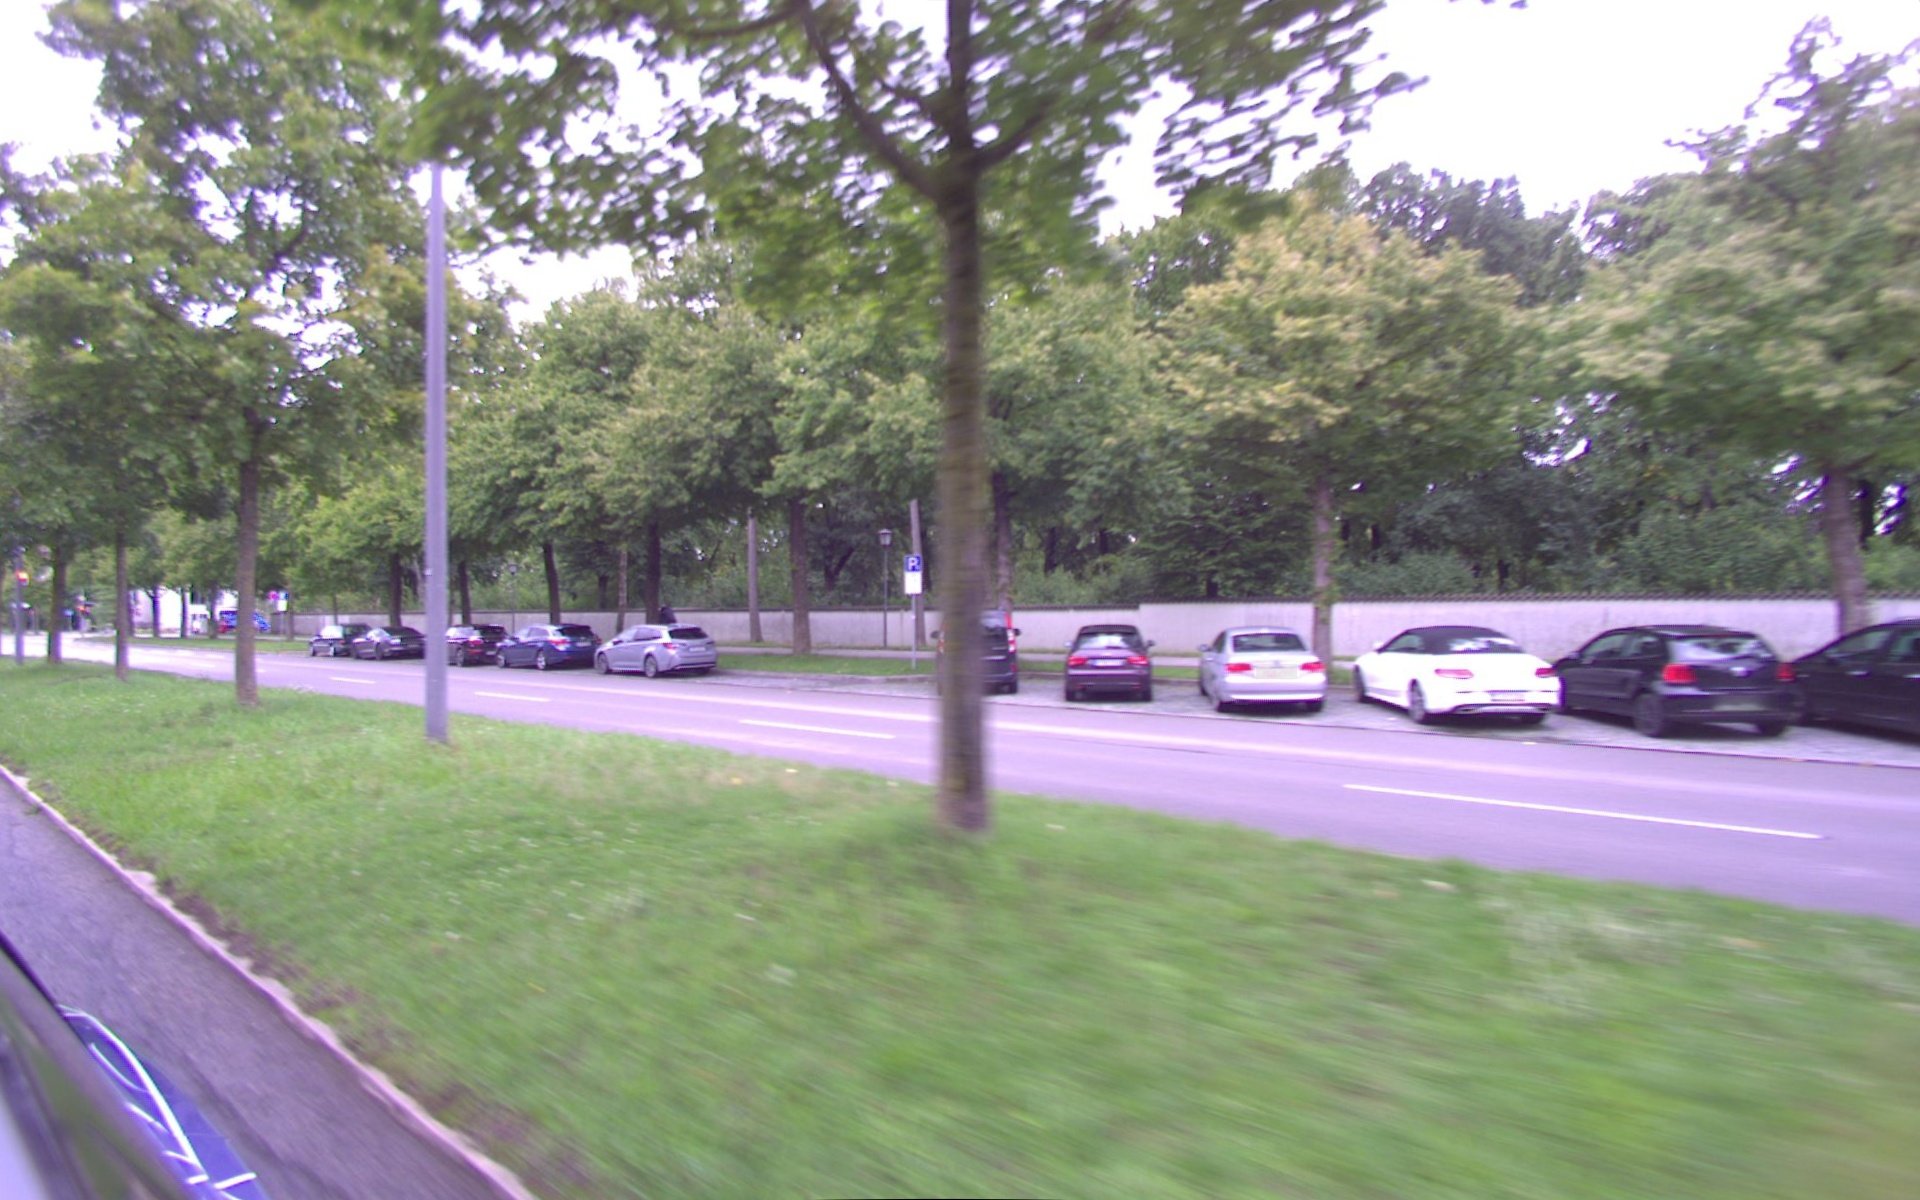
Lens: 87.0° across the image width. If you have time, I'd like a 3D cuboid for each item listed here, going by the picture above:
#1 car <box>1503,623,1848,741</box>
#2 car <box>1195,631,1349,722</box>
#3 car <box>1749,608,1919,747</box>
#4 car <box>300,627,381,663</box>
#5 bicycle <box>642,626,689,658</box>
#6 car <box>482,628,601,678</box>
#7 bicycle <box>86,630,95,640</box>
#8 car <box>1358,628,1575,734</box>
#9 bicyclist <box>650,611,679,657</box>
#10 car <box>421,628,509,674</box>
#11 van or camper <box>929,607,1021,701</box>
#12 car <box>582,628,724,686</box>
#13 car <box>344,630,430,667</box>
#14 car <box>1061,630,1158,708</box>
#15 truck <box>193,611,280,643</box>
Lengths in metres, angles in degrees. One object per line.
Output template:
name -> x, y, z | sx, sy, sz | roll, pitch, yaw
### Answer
car -> 9.897, 1.052, 14.510 | 1.892, 1.433, 4.240 | 0, -1, 0
car -> 5.279, 1.244, 17.659 | 1.828, 1.364, 3.992 | -1, -1, 7
car -> 12.028, 0.899, 12.183 | 1.893, 1.609, 4.105 | -1, -1, 2
car -> -28.355, 2.024, 46.238 | 4.913, 1.501, 1.780 | -2, 0, 42
bicycle -> -11.290, 1.584, 38.741 | 2.115, 1.170, 0.705 | -2, -2, 42
car -> -13.733, 1.697, 33.075 | 4.795, 1.470, 1.570 | -2, 0, 40
bicycle -> -106.042, 4.318, 123.450 | 1.825, 1.190, 0.539 | -2, -1, 41
car -> 7.646, 1.150, 15.739 | 1.654, 1.392, 4.036 | -1, -1, 6
bicyclist -> -11.310, 1.289, 38.768 | 0.922, 1.760, 0.697 | -2, -2, 41
car -> -17.910, 1.782, 36.502 | 1.553, 1.514, 4.306 | -1, 0, -45
van or camper -> 0.320, 1.125, 22.407 | 1.825, 1.869, 4.124 | -1, -1, 1
car -> -8.780, 1.558, 28.699 | 4.808, 1.450, 1.618 | -2, 0, 43
car -> -23.919, 1.999, 42.174 | 4.705, 1.406, 1.642 | -2, 0, 42
car -> 2.942, 1.307, 20.175 | 1.733, 1.364, 3.612 | -1, -1, 8
truck -> -82.598, 3.048, 115.677 | 2.772, 3.515, 7.714 | -2, -2, 42
